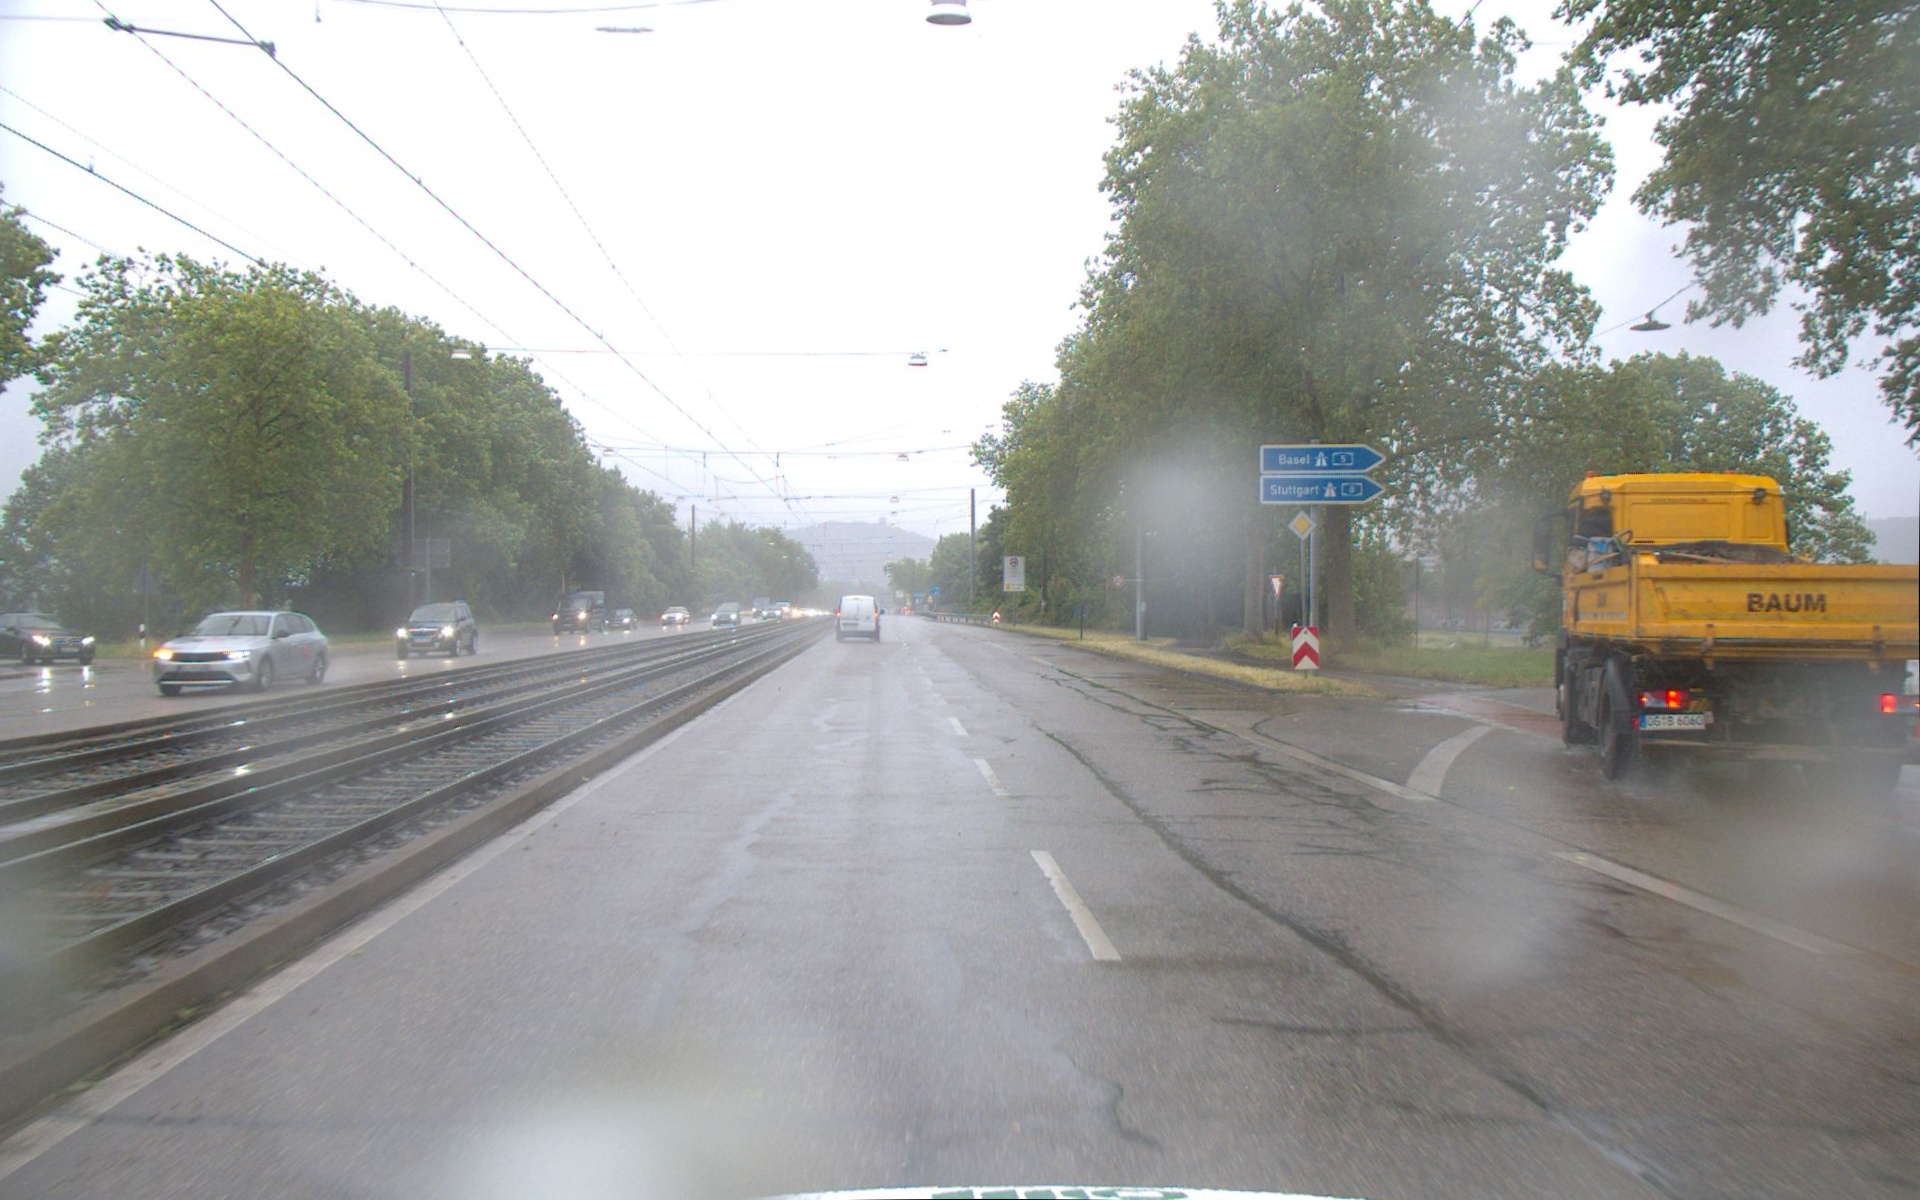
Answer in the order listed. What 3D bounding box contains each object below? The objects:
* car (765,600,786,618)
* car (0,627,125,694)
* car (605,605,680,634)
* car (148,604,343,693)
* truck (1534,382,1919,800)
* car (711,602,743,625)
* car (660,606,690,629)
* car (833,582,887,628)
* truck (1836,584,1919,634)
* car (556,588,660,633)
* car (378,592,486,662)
[{"bbox_3d":[-18.559,0.885,166.306,1.740,1.612,5.678,1,1,-3],"label":"car"},{"bbox_3d":[-26.796,1.742,48.840,4.554,1.716,1.841,2,1,34],"label":"car"},{"bbox_3d":[-20.890,1.257,108.977,2.048,1.829,4.745,2,1,36],"label":"car"},{"bbox_3d":[-12.841,0.818,30.044,1.707,1.377,4.544,1,1,-2],"label":"car"},{"bbox_3d":[7.546,-0.130,16.702,2.501,3.314,6.939,1,1,13],"label":"truck"},{"bbox_3d":[-17.332,0.997,123.289,1.754,1.576,5.312,1,1,-1],"label":"car"},{"bbox_3d":[-23.614,1.449,137.064,1.783,1.735,5.018,1,1,-3],"label":"car"},{"bbox_3d":[-3.963,0.170,65.964,1.949,1.713,3.739,1,1,-1],"label":"car"},{"bbox_3d":[87.830,0.599,148.095,16.401,4.231,3.286,-3,-1,28],"label":"truck"},{"bbox_3d":[-20.123,0.577,94.757,2.292,2.468,5.828,2,1,35],"label":"car"},{"bbox_3d":[-15.321,0.728,48.274,1.850,1.841,5.000,1,1,-4],"label":"car"}]
